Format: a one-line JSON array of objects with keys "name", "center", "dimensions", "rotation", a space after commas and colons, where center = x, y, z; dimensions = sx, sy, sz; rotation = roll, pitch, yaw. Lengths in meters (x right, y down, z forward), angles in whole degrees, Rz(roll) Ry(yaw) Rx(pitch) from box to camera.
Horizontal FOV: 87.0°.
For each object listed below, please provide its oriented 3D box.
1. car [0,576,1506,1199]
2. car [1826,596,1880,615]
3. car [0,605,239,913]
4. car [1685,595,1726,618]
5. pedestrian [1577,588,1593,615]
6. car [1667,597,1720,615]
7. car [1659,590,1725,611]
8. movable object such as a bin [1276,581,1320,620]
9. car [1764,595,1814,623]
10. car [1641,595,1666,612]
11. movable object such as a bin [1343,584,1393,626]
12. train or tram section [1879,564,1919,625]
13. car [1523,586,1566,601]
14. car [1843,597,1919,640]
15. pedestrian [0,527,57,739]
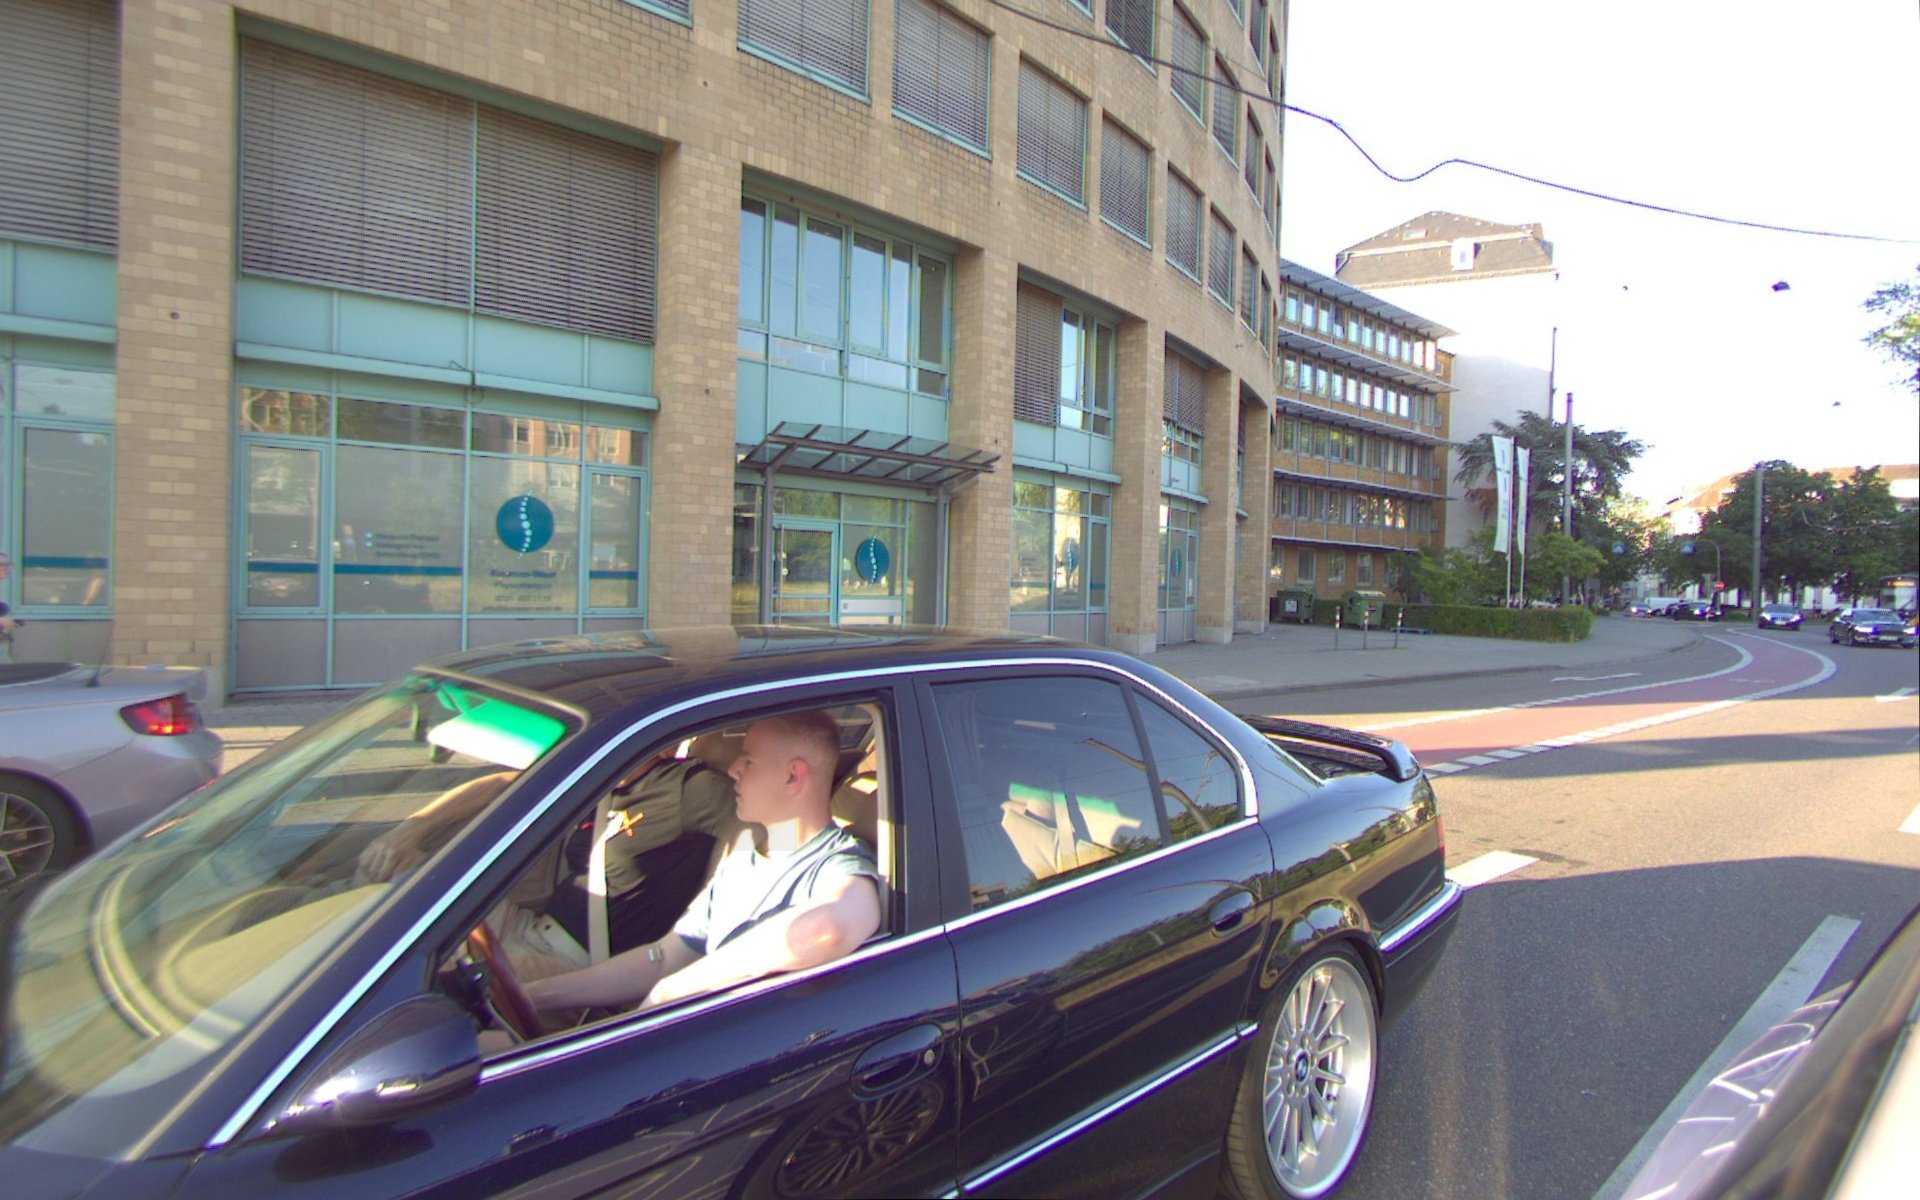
[{"name": "car", "center": [-0.655, 0.667, 2.233], "dimensions": [4.560, 1.371, 1.833], "rotation": [1, 0, -42]}, {"name": "car", "center": [92.392, 0.554, 104.783], "dimensions": [1.672, 1.746, 4.007], "rotation": [2, 1, -42]}, {"name": "car", "center": [-5.880, 0.711, 4.503], "dimensions": [4.192, 1.371, 1.786], "rotation": [1, 0, -41]}, {"name": "car", "center": [54.381, 0.489, 73.870], "dimensions": [1.805, 1.501, 4.093], "rotation": [3, 1, 29]}, {"name": "pedestrian", "center": [43.023, 0.082, 69.674], "dimensions": [0.805, 1.814, 0.593], "rotation": [2, 0, -30]}, {"name": "car", "center": [73.196, 0.571, 101.070], "dimensions": [4.055, 1.571, 1.969], "rotation": [3, 1, 43]}, {"name": "car", "center": [75.795, 0.026, 104.859], "dimensions": [2.083, 1.926, 5.078], "rotation": [2, 1, -39]}, {"name": "movable object such as a bin", "center": [13.172, 0.016, 39.434], "dimensions": [1.340, 1.442, 0.910], "rotation": [3, 0, 42]}, {"name": "car", "center": [49.246, 0.526, 60.168], "dimensions": [1.808, 1.501, 4.086], "rotation": [3, 1, 33]}, {"name": "car", "center": [64.083, 0.333, 93.556], "dimensions": [1.809, 1.501, 4.084], "rotation": [2, 0, 34]}, {"name": "movable object such as a bin", "center": [14.885, 0.187, 36.911], "dimensions": [1.317, 1.455, 0.976], "rotation": [2, 0, -22]}, {"name": "train or tram section", "center": [62.620, -0.302, 63.800], "dimensions": [13.098, 3.629, 2.954], "rotation": [0, 1, -30]}, {"name": "car", "center": [71.828, -0.783, 124.425], "dimensions": [4.356, 1.633, 1.713], "rotation": [3, 1, 27]}, {"name": "car", "center": [35.398, 0.717, 38.670], "dimensions": [1.807, 1.501, 4.088], "rotation": [3, 1, 32]}, {"name": "pedestrian", "center": [-7.509, 0.234, 7.782], "dimensions": [0.786, 1.589, 0.677], "rotation": [2, 0, -43]}]
